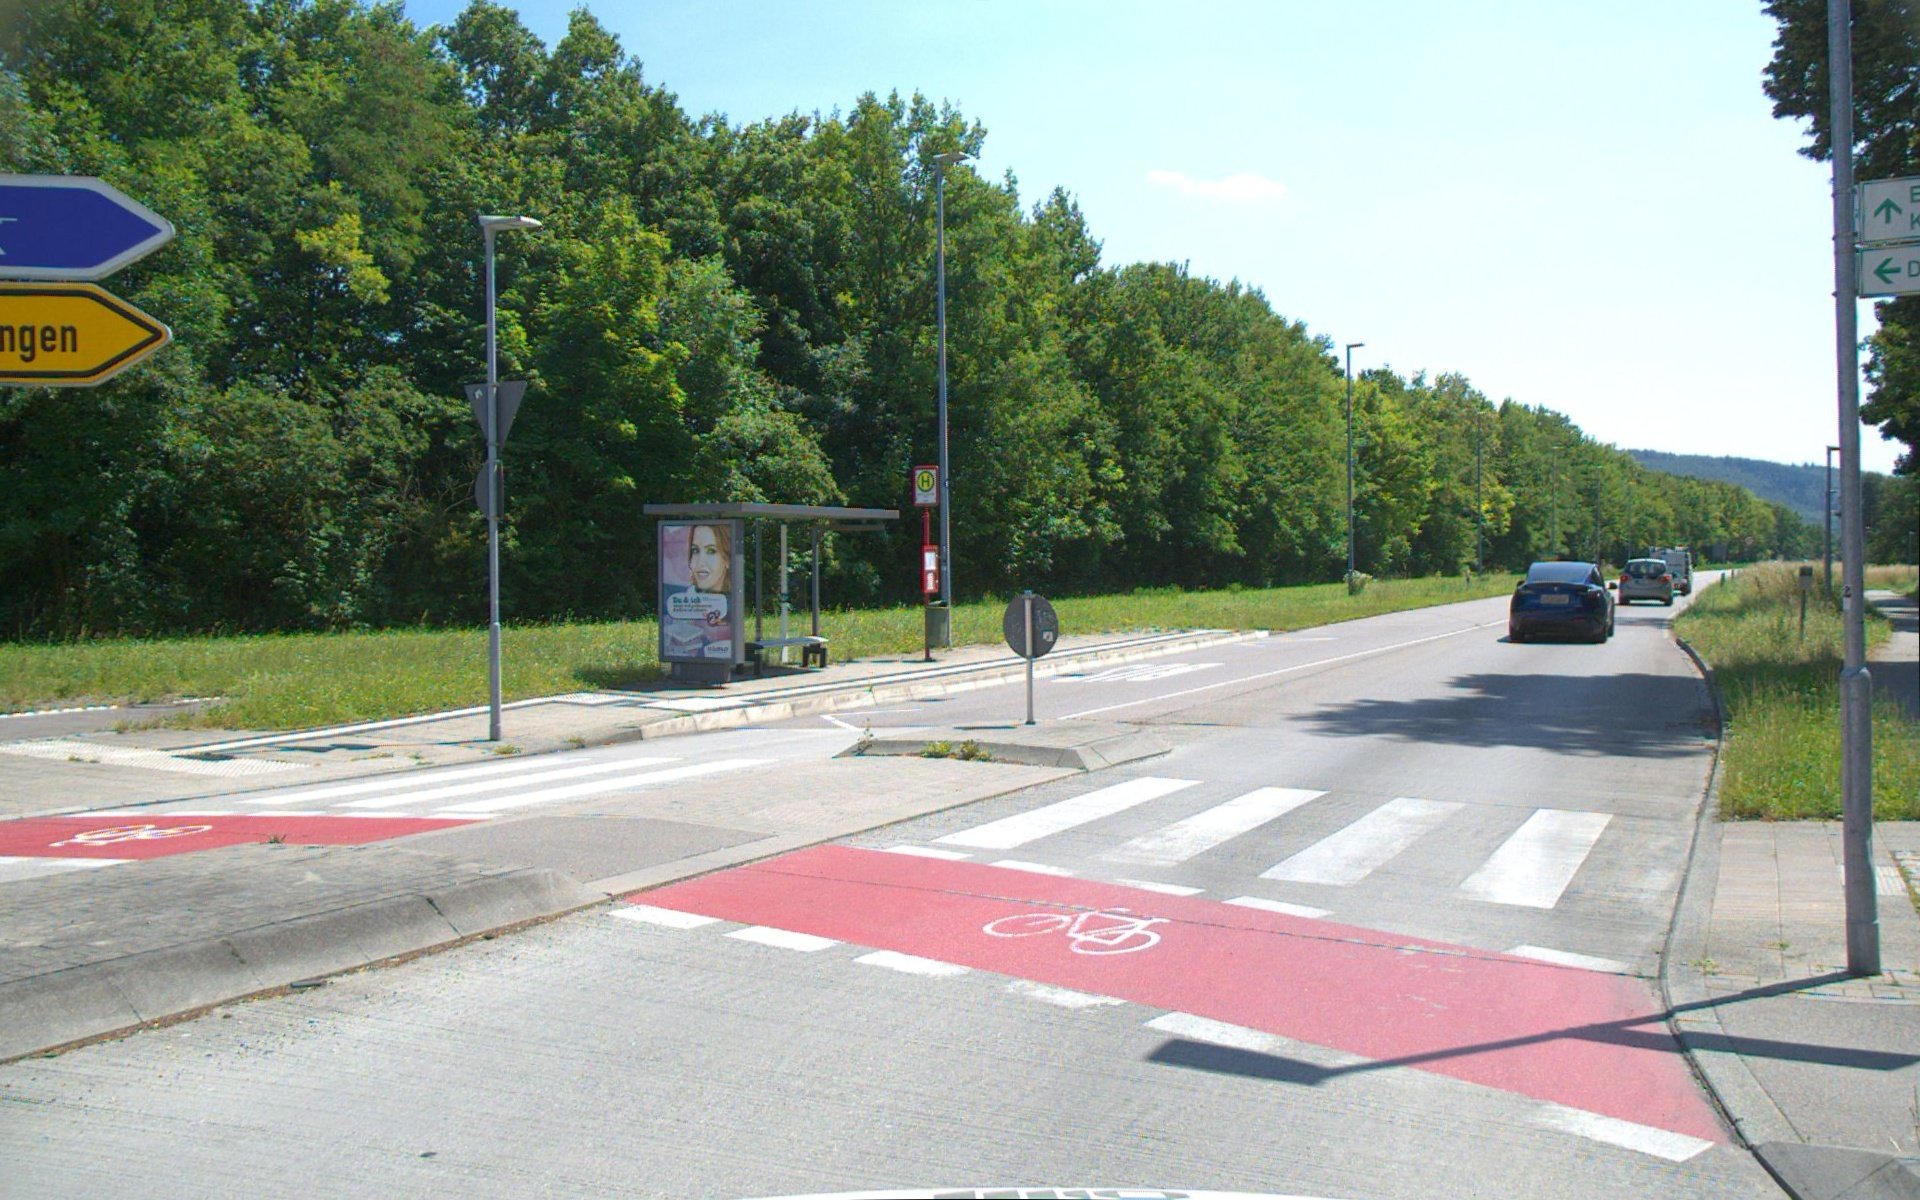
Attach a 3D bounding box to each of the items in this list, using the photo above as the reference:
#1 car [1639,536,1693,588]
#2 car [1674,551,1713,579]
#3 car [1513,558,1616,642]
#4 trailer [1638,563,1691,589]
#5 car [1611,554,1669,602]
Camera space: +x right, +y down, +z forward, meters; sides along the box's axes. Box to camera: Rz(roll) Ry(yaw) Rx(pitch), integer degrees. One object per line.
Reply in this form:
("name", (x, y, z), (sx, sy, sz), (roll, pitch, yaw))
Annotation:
("car", (32.762, -1.752, 76.676), (2.123, 2.356, 4.978), (1, 1, 25))
("car", (44.668, -2.122, 100.698), (1.825, 1.623, 3.993), (1, 1, 29))
("car", (12.997, -0.051, 35.410), (1.953, 1.668, 4.757), (0, 1, 22))
("trailer", (31.076, -1.072, 72.894), (2.079, 1.116, 3.353), (1, 1, 24))
("car", (24.317, -0.799, 59.096), (1.749, 1.634, 4.126), (1, 1, 24))
